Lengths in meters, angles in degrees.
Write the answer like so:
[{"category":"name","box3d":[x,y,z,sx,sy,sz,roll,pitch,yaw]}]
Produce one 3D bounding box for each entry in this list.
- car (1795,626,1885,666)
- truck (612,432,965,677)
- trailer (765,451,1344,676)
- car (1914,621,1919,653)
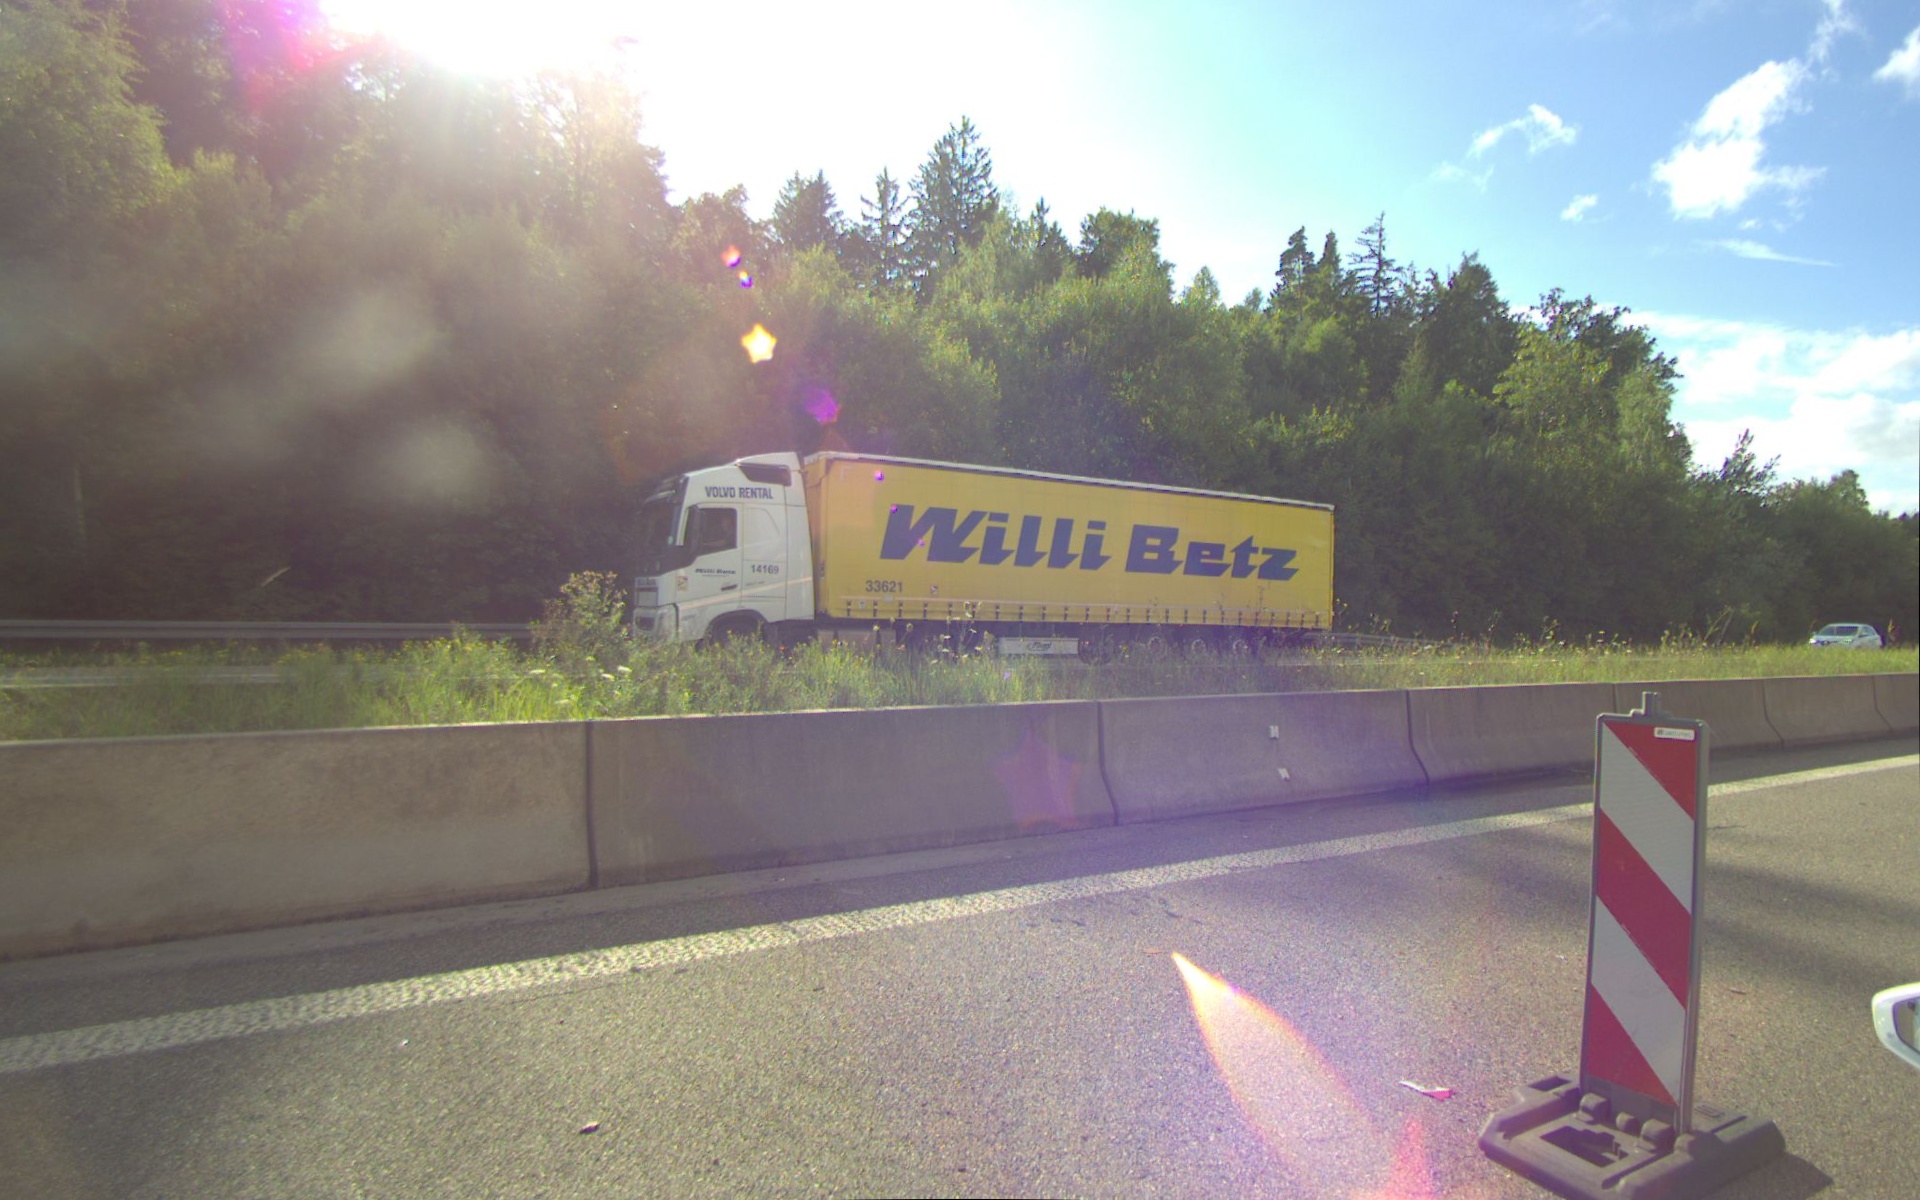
[{"category":"car","box3d":[38.154,1.985,43.528,3.953,1.581,1.778,2,0,-30]},{"category":"truck","box3d":[-3.180,-0.664,18.906,5.879,3.961,2.813,2,0,-30]},{"category":"trailer","box3d":[2.764,-0.458,22.447,13.777,3.974,2.814,2,0,-31]},{"category":"car","box3d":[64.264,2.480,65.454,3.953,2.040,1.984,2,0,-30]}]
